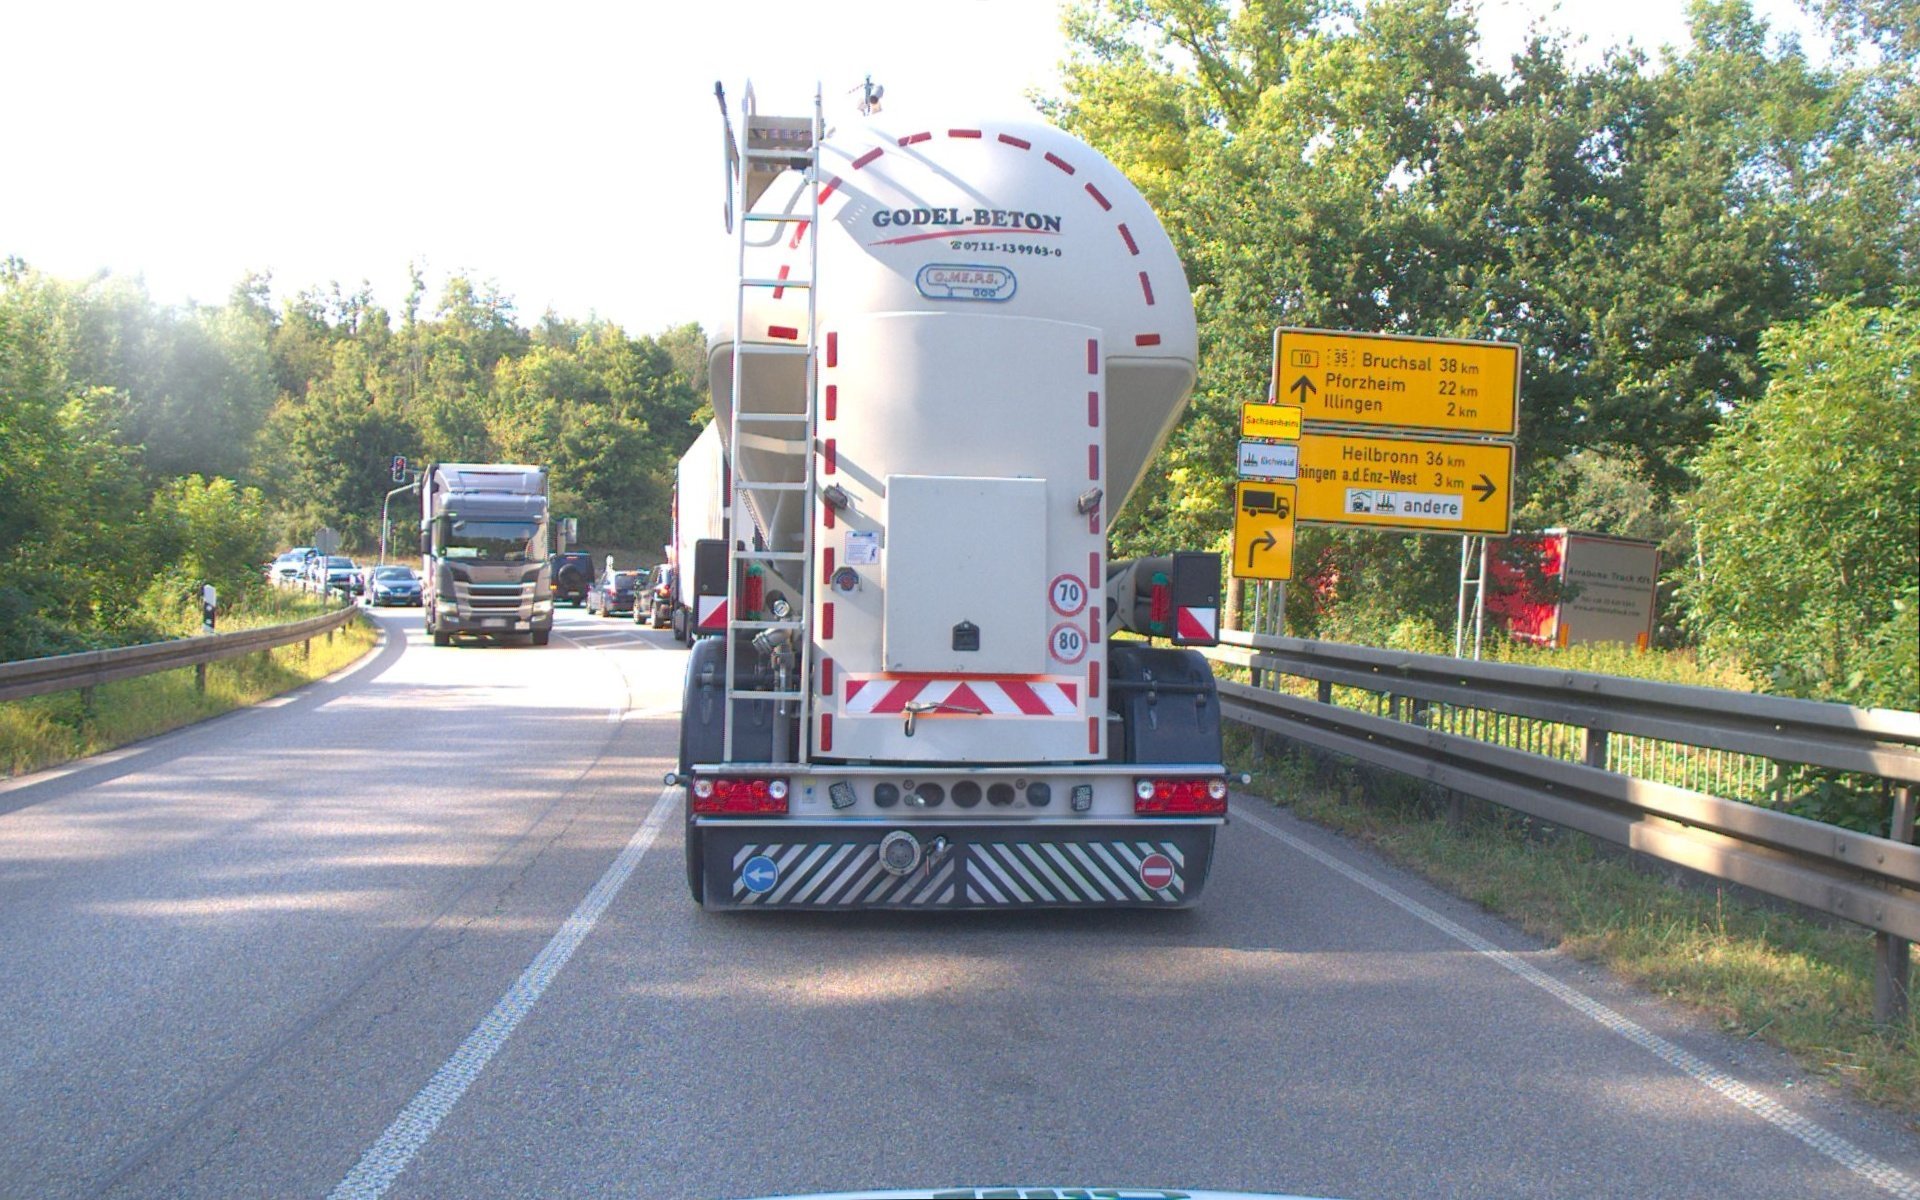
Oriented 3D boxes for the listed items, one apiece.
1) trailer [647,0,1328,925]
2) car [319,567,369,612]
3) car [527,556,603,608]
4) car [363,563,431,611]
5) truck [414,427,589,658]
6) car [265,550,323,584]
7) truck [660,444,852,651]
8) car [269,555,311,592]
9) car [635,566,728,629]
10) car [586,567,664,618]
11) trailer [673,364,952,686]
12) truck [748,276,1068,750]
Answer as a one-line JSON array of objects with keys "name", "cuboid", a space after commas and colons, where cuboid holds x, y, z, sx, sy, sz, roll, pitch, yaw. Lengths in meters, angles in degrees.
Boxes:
[{"name": "trailer", "cuboid": [-0.247, -0.914, 11.783, 2.830, 4.532, 9.596, 1, 0, -5]}, {"name": "car", "cuboid": [-27.145, -0.502, 72.832, 1.843, 1.883, 3.971, 0, 2, -24]}, {"name": "car", "cuboid": [-14.893, -0.711, 62.255, 1.933, 1.883, 3.966, -1, 2, -26]}, {"name": "car", "cuboid": [-20.787, -0.496, 60.978, 1.845, 1.584, 3.967, 3, 0, -26]}, {"name": "truck", "cuboid": [-11.003, -1.197, 38.888, 2.969, 4.665, 10.178, 1, 0, -21]}, {"name": "car", "cuboid": [-39.822, -1.941, 99.002, 1.830, 1.884, 3.999, 3, 0, -2]}, {"name": "truck", "cuboid": [-4.766, -1.142, 37.391, 3.393, 4.157, 6.466, 2, 1, -15]}, {"name": "car", "cuboid": [-36.437, -1.422, 89.981, 1.840, 1.884, 3.978, 3, 0, -19]}, {"name": "car", "cuboid": [-7.761, -0.115, 45.813, 1.840, 1.656, 3.976, 0, 1, -20]}, {"name": "car", "cuboid": [-10.894, -0.280, 53.571, 1.841, 1.592, 3.974, 0, 1, -21]}, {"name": "trailer", "cuboid": [-3.230, -1.117, 30.716, 3.483, 4.592, 12.944, 2, 0, -12]}, {"name": "truck", "cuboid": [-0.808, -0.761, 17.503, 2.771, 4.105, 5.884, 1, 0, -7]}]
